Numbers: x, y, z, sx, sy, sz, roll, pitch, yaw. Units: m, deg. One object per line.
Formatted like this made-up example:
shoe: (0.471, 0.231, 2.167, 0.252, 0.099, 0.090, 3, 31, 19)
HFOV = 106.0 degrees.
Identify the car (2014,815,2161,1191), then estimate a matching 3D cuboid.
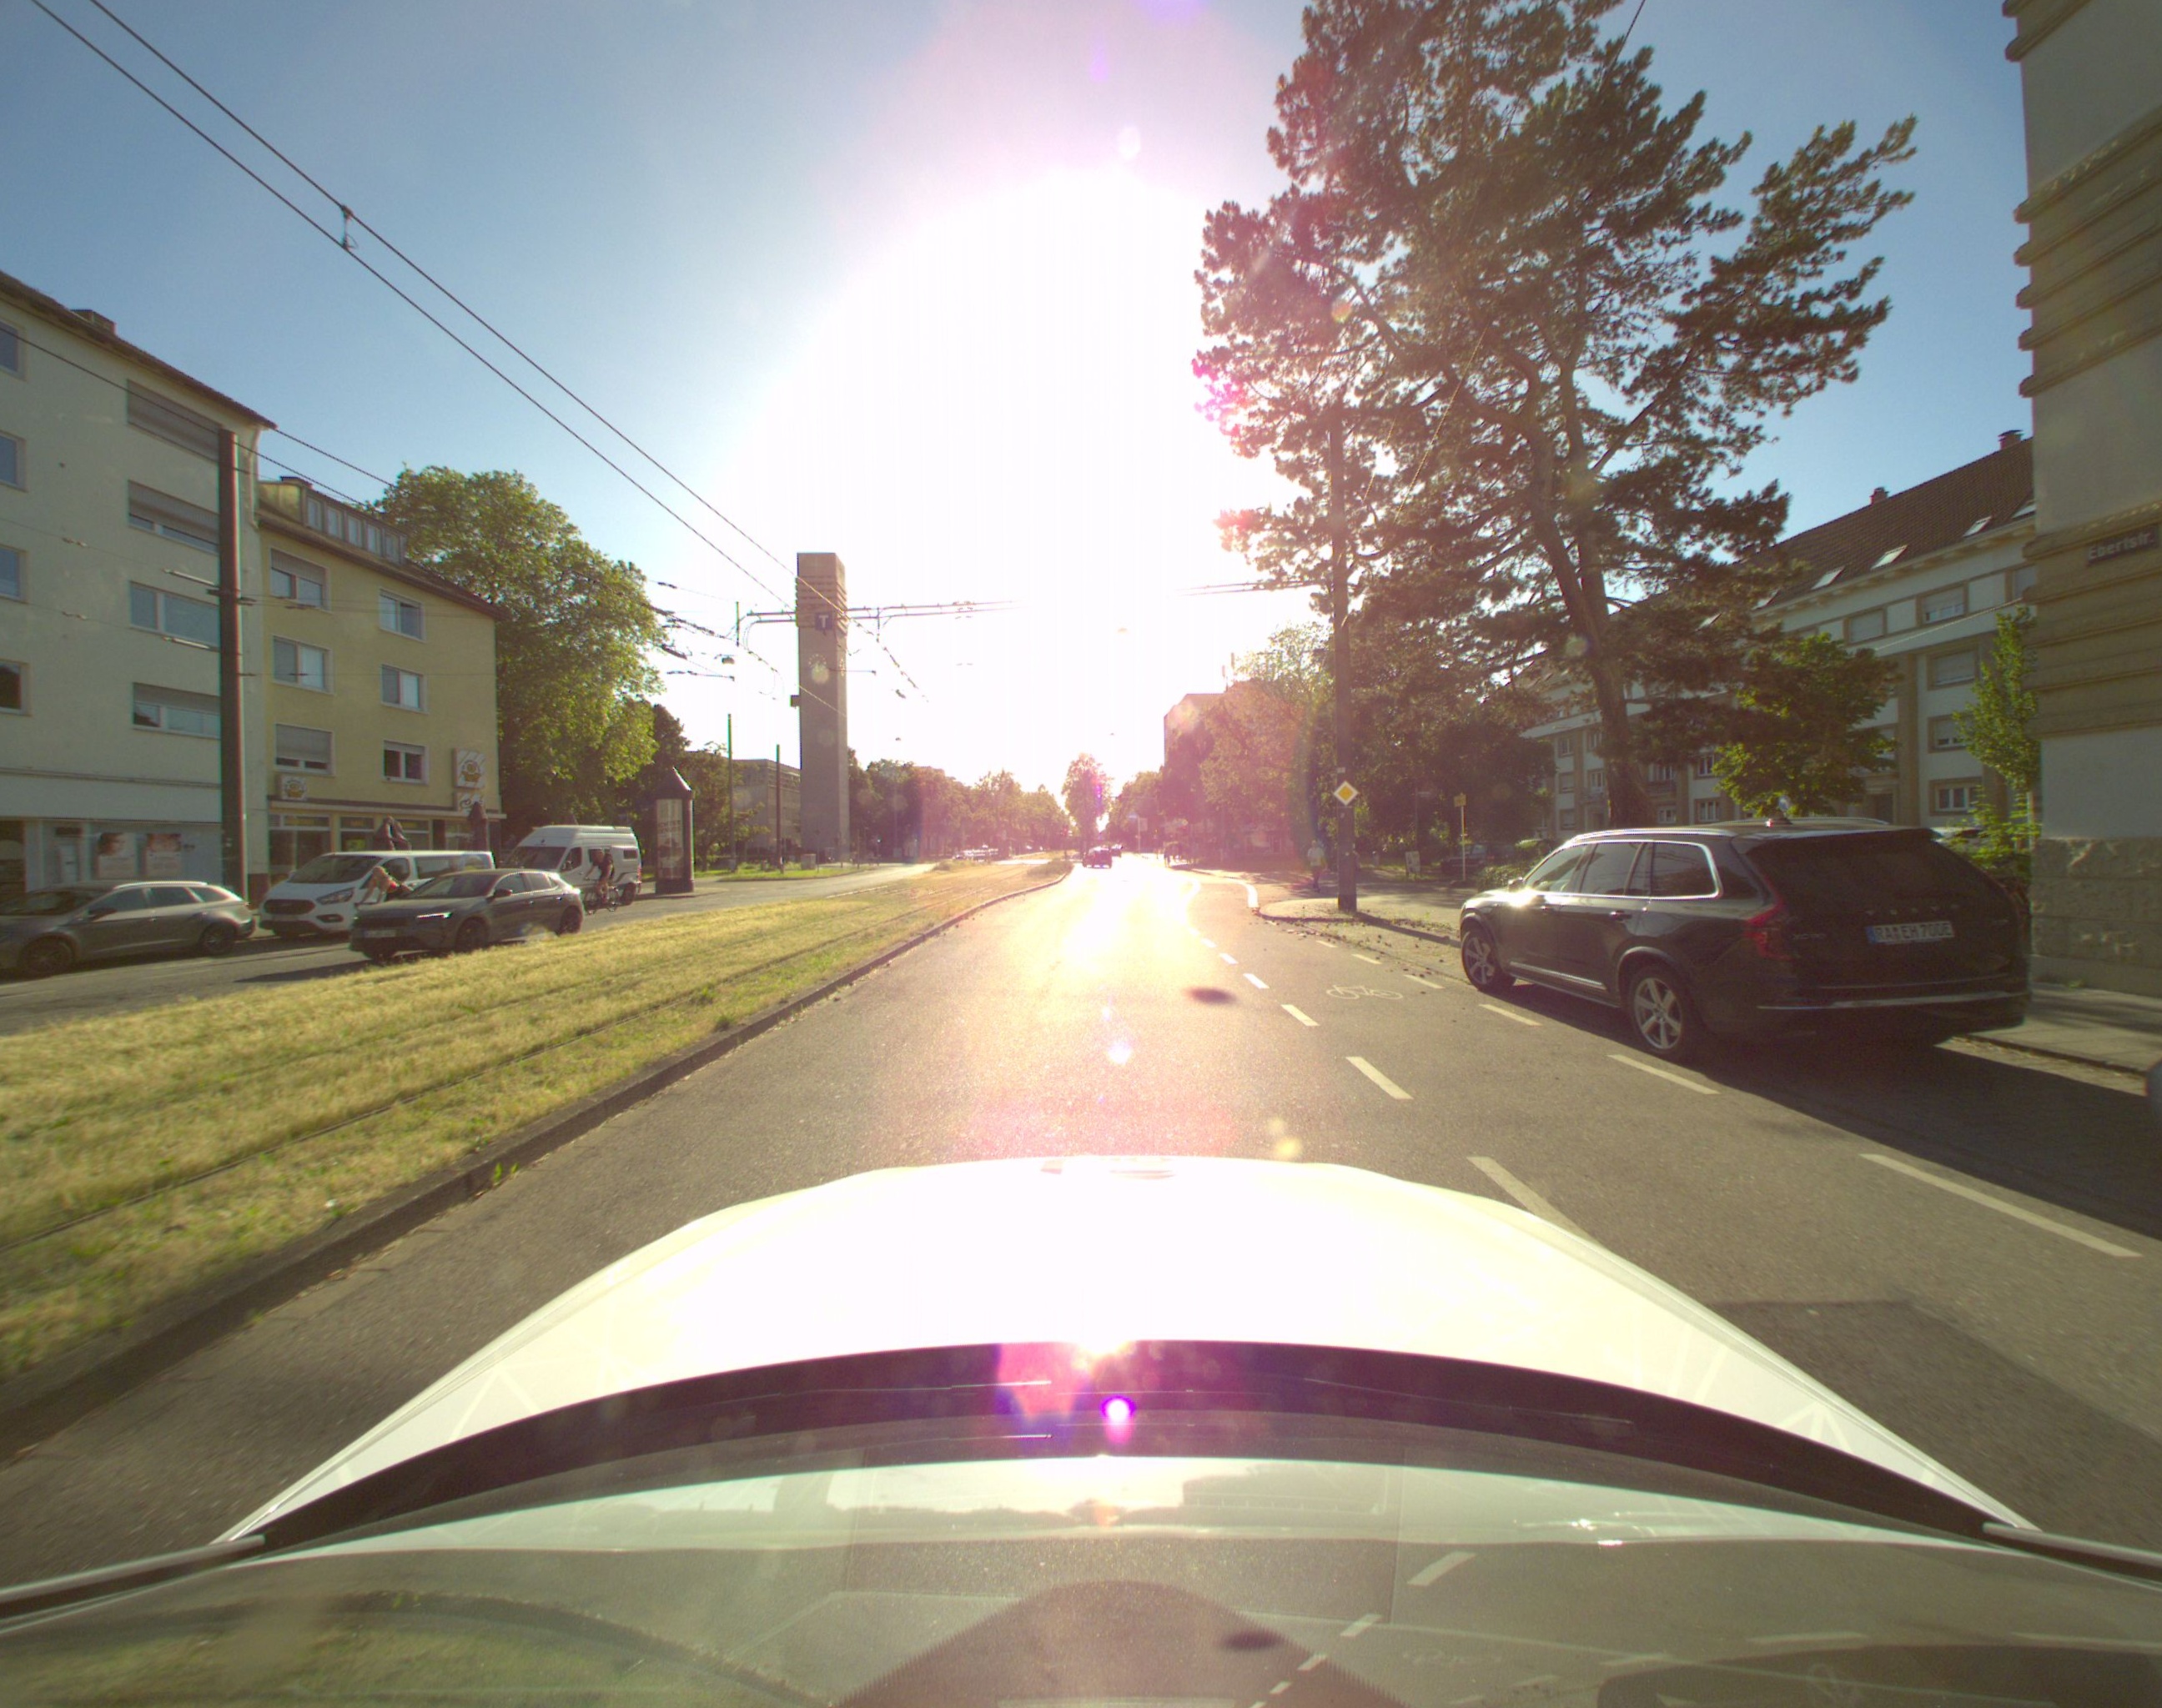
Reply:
car: (5.392, 0.605, 2.018, 1.589, 1.578, 3.893, -3, 0, -2)

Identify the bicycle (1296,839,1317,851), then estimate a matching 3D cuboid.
bicycle: (28.146, -1.123, 101.540, 2.462, 1.399, 0.608, 1, 0, -1)

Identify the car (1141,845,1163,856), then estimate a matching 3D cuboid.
car: (13.361, -0.621, 153.735, 3.969, 1.859, 2.014, 2, 0, 4)

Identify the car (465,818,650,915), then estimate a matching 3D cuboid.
car: (-17.214, 0.351, 27.328, 2.025, 2.868, 6.230, 0, 0, 2)

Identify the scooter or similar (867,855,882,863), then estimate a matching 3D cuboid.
scooter or similar: (-23.982, 0.609, 94.545, 1.737, 0.899, 0.560, -1, 0, -15)

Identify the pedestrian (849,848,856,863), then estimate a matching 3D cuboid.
pedestrian: (-26.308, 0.187, 93.884, 0.440, 1.666, 0.748, 1, 0, 10)

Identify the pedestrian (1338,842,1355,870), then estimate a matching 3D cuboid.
pedestrian: (13.472, 0.109, 41.276, 0.678, 1.373, 0.760, 2, 0, 27)

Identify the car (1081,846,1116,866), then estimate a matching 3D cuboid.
car: (1.296, 0.113, 63.370, 1.698, 1.508, 3.679, 1, 1, -16)

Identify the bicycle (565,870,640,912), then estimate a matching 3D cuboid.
bicycle: (-14.873, 1.127, 25.417, 0.765, 1.146, 2.475, -3, 0, 1)

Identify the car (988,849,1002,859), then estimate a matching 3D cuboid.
car: (-13.256, -0.034, 125.473, 1.560, 1.402, 3.915, 1, 0, 1)

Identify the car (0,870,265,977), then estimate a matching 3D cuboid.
car: (-17.328, 1.089, 14.323, 1.690, 1.515, 4.323, 0, 0, -2)

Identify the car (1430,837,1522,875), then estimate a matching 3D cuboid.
car: (16.915, 0.064, 35.077, 1.636, 1.494, 3.794, -2, 1, -11)

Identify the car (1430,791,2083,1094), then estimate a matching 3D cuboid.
car: (5.158, 0.522, 7.416, 1.872, 1.716, 4.936, -4, 0, 2)

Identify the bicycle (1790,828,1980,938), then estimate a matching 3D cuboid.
bicycle: (10.356, 0.359, 10.521, 1.823, 1.300, 0.564, -3, 0, 1)

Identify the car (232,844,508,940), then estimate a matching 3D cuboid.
car: (-17.299, 0.800, 20.335, 2.025, 2.021, 5.372, 1, 0, 2)

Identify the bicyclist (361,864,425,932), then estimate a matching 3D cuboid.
bicyclist: (-14.698, 0.926, 17.408, 0.770, 1.384, 0.648, -1, 0, 0)

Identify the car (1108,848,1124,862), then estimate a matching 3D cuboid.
car: (4.971, 0.081, 115.600, 1.963, 1.859, 3.999, 1, 0, -1)

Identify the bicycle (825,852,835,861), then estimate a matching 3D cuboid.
bicycle: (-30.446, 0.346, 98.698, 0.488, 1.045, 1.687, 1, 0, 8)

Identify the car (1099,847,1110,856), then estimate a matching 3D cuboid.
car: (4.364, -0.543, 151.025, 1.888, 1.611, 4.499, 1, 0, 0)

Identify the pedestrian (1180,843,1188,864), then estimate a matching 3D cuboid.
pedestrian: (7.653, -0.021, 60.535, 0.526, 1.528, 0.628, -3, 0, 6)

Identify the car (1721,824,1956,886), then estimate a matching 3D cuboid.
car: (20.224, 0.082, 22.010, 4.252, 1.502, 1.779, -2, -3, 24)

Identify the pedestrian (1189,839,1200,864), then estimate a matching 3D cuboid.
pedestrian: (8.373, -0.187, 60.310, 0.699, 1.789, 0.695, -3, 1, 6)

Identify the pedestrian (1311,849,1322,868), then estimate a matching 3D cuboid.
pedestrian: (12.103, 0.226, 41.891, 0.399, 0.934, 0.627, 2, 2, 27)

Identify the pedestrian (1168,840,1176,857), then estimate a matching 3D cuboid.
pedestrian: (8.390, -0.481, 74.689, 0.642, 1.522, 0.498, 1, 0, 13)

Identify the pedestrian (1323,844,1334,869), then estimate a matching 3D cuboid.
pedestrian: (12.705, 0.121, 41.815, 0.399, 1.226, 0.765, 2, 0, 27)

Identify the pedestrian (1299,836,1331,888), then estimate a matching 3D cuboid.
pedestrian: (7.907, 0.268, 27.548, 0.876, 1.722, 0.726, -1, 1, 6)

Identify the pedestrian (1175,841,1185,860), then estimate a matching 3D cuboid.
pedestrian: (9.082, -0.319, 74.693, 0.725, 1.682, 0.534, 1, 0, 13)

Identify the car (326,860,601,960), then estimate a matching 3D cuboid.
car: (-11.009, 0.898, 14.982, 1.688, 1.448, 4.219, -2, 0, 1)

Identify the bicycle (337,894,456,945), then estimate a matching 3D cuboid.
bicycle: (-14.691, 1.378, 17.572, 0.765, 0.879, 2.069, -3, 0, 1)

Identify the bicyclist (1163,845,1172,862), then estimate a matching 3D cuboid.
bicyclist: (6.878, -0.014, 64.648, 0.635, 1.323, 0.803, 1, 0, 3)

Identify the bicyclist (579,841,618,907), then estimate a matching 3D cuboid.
bicyclist: (-14.991, 0.621, 25.321, 0.770, 2.013, 0.648, 1, 0, 0)

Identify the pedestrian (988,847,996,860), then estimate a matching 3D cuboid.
pedestrian: (-11.393, -0.099, 104.256, 0.888, 1.606, 0.613, 1, 0, 0)

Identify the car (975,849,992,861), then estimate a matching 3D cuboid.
car: (-13.451, 0.130, 112.300, 1.681, 1.533, 4.362, -1, 0, 1)

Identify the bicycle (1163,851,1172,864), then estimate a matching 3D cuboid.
bicycle: (6.875, 0.280, 64.633, 0.645, 0.972, 1.805, 1, 0, 4)

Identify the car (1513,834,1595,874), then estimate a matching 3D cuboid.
car: (19.914, -0.028, 34.434, 1.445, 1.572, 3.813, -2, 1, 4)

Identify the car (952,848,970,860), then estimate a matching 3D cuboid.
car: (-16.431, 0.008, 111.584, 1.800, 1.533, 4.361, -1, 0, 1)
